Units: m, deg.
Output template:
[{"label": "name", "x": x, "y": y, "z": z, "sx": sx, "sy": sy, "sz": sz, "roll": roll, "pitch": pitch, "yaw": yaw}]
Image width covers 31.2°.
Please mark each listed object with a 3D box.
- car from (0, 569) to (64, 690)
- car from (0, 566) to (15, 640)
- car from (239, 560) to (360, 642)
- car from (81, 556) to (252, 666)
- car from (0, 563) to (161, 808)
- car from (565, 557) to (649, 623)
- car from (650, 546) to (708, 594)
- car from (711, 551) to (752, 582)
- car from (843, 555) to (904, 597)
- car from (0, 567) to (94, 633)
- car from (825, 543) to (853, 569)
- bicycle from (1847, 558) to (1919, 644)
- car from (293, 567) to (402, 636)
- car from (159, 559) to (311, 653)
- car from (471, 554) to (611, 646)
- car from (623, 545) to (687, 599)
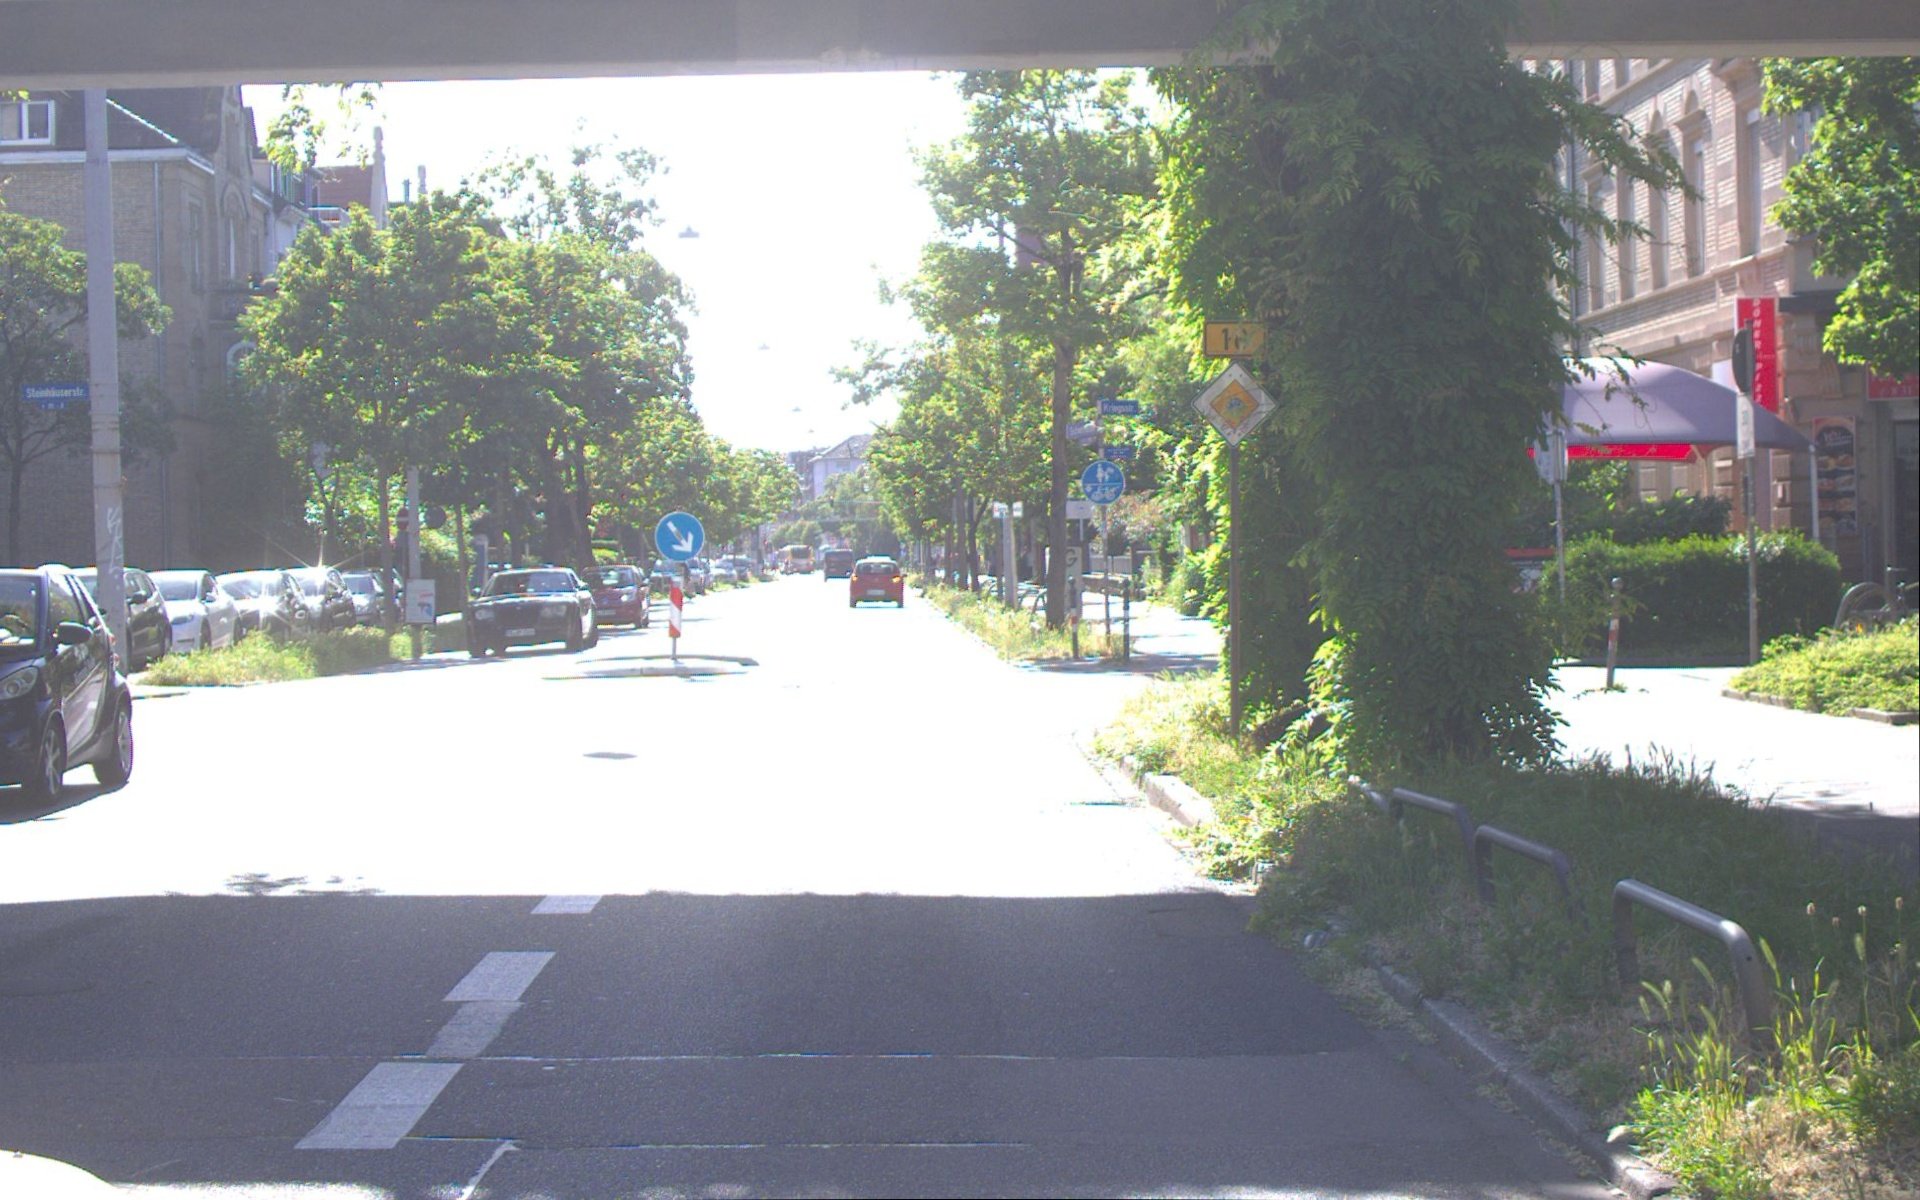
[{"label": "car", "x": -13.026, "y": 0.392, "z": 45.179, "sx": 1.719, "sy": 1.513, "sz": 3.532, "roll": -3, "pitch": 1, "yaw": -4}, {"label": "car", "x": -23.207, "y": 0.124, "z": 76.364, "sx": 3.986, "sy": 1.624, "sz": 1.688, "roll": -2, "pitch": 1, "yaw": -5}, {"label": "car", "x": -13.522, "y": -0.001, "z": 70.569, "sx": 1.751, "sy": 1.548, "sz": 4.000, "roll": -2, "pitch": 1, "yaw": -2}, {"label": "car", "x": -13.360, "y": 0.150, "z": 58.130, "sx": 1.888, "sy": 1.656, "sz": 4.531, "roll": -4, "pitch": 1, "yaw": -2}, {"label": "car", "x": -6.452, "y": 0.546, "z": 23.125, "sx": 1.467, "sy": 1.522, "sz": 2.817, "roll": -2, "pitch": 1, "yaw": 0}, {"label": "car", "x": -8.169, "y": -0.252, "z": 79.809, "sx": 1.651, "sy": 1.423, "sz": 3.507, "roll": -2, "pitch": 1, "yaw": -2}, {"label": "car", "x": -12.468, "y": -1.346, "z": 152.787, "sx": 2.061, "sy": 2.007, "sz": 4.629, "roll": -2, "pitch": 1, "yaw": 1}, {"label": "car", "x": -13.417, "y": -1.981, "z": 201.792, "sx": 1.993, "sy": 1.690, "sz": 4.000, "roll": -2, "pitch": 1, "yaw": 1}, {"label": "car", "x": -2.673, "y": -0.768, "z": 107.142, "sx": 1.797, "sy": 1.219, "sz": 4.000, "roll": -2, "pitch": 1, "yaw": -1}, {"label": "car", "x": -24.483, "y": 0.018, "z": 88.453, "sx": 3.986, "sy": 1.624, "sz": 1.688, "roll": -2, "pitch": 1, "yaw": -5}, {"label": "car", "x": -8.452, "y": -3.080, "z": 240.335, "sx": 1.758, "sy": 1.777, "sz": 4.000, "roll": -2, "pitch": 1, "yaw": 0}, {"label": "bicycle", "x": 11.033, "y": 0.003, "z": 40.012, "sx": 1.308, "sy": 0.970, "sz": 0.393, "roll": -2, "pitch": 1, "yaw": -12}, {"label": "car", "x": -13.480, "y": 0.020, "z": 75.812, "sx": 1.754, "sy": 1.393, "sz": 4.000, "roll": -2, "pitch": 1, "yaw": -2}, {"label": "car", "x": -13.495, "y": 0.084, "z": 64.212, "sx": 1.863, "sy": 1.582, "sz": 4.000, "roll": -3, "pitch": 1, "yaw": 1}, {"label": "car", "x": -7.212, "y": -0.026, "z": 59.579, "sx": 1.866, "sy": 1.453, "sz": 4.593, "roll": -2, "pitch": 1, "yaw": -1}, {"label": "car", "x": -11.744, "y": -1.097, "z": 132.551, "sx": 1.993, "sy": 2.007, "sz": 4.205, "roll": -2, "pitch": 1, "yaw": 1}]
